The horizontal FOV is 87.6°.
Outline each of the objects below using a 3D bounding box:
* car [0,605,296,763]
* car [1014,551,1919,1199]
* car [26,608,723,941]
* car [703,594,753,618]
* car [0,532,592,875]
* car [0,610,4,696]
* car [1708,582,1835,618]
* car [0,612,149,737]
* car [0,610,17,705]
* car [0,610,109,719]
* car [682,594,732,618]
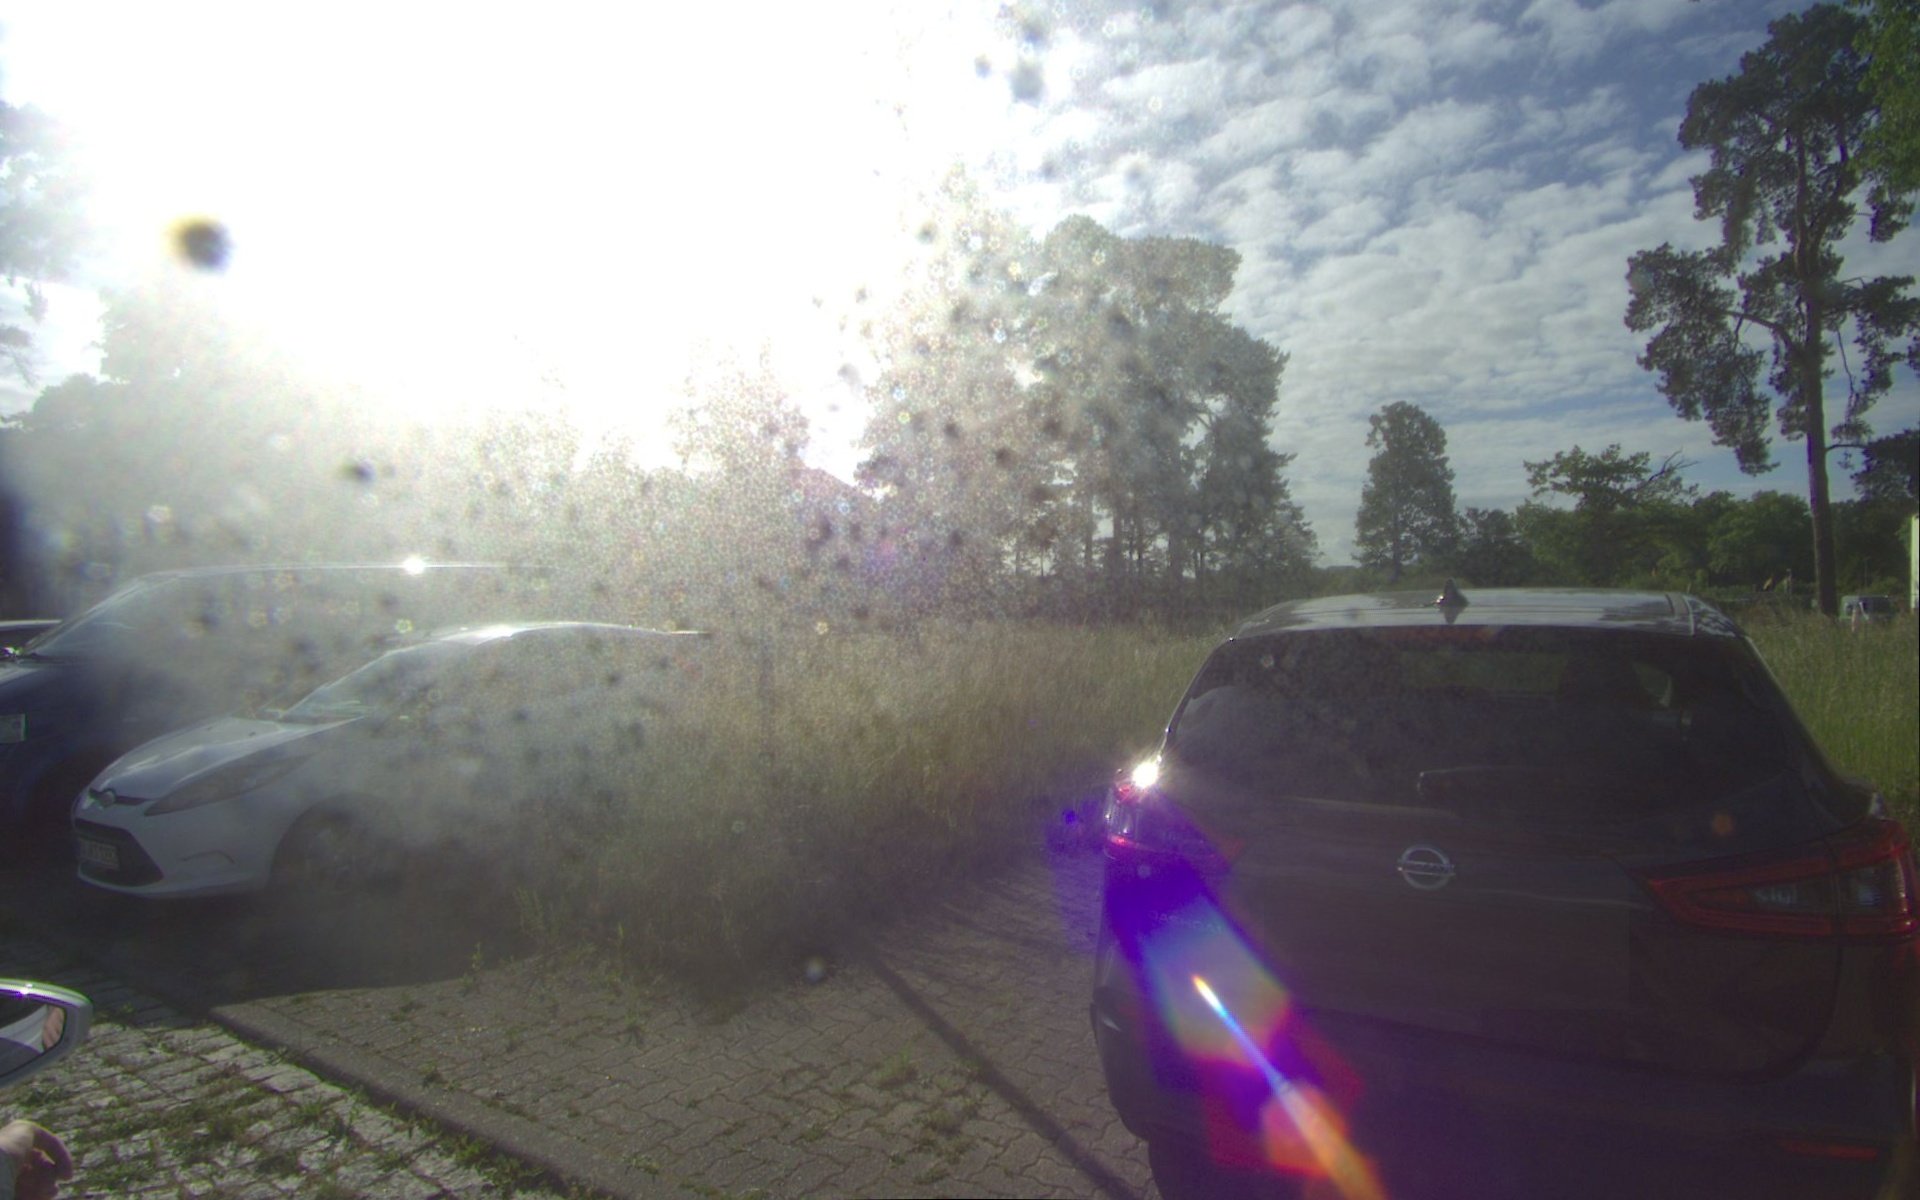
[{"bbox_3d":[-9.839,0.867,11.174,1.622,1.486,3.684,0,2,33],"label":"car"},{"bbox_3d":[1.867,0.756,3.550,1.746,1.643,3.929,0,0,31],"label":"car"},{"bbox_3d":[-3.498,0.835,6.708,1.621,1.508,3.713,0,1,30],"label":"car"},{"bbox_3d":[-19.913,0.506,86.001,1.971,2.040,3.979,0,0,32],"label":"car"},{"bbox_3d":[-5.620,0.628,8.255,2.052,2.040,4.671,0,0,29],"label":"car"},{"bbox_3d":[-18.860,0.958,16.929,1.621,1.549,3.597,0,0,31],"label":"car"},{"bbox_3d":[52.465,0.047,64.892,2.337,2.199,5.996,0,-1,-23],"label":"car"},{"bbox_3d":[-12.513,0.934,12.264,1.621,1.487,3.668,0,1,31],"label":"car"},{"bbox_3d":[-17.081,0.940,15.390,1.621,1.549,3.472,0,0,31],"label":"car"},{"bbox_3d":[-14.641,0.925,14.289,1.621,1.549,3.472,0,0,31],"label":"car"},{"bbox_3d":[-21.958,0.523,87.072,1.971,2.040,3.979,0,0,32],"label":"car"}]
